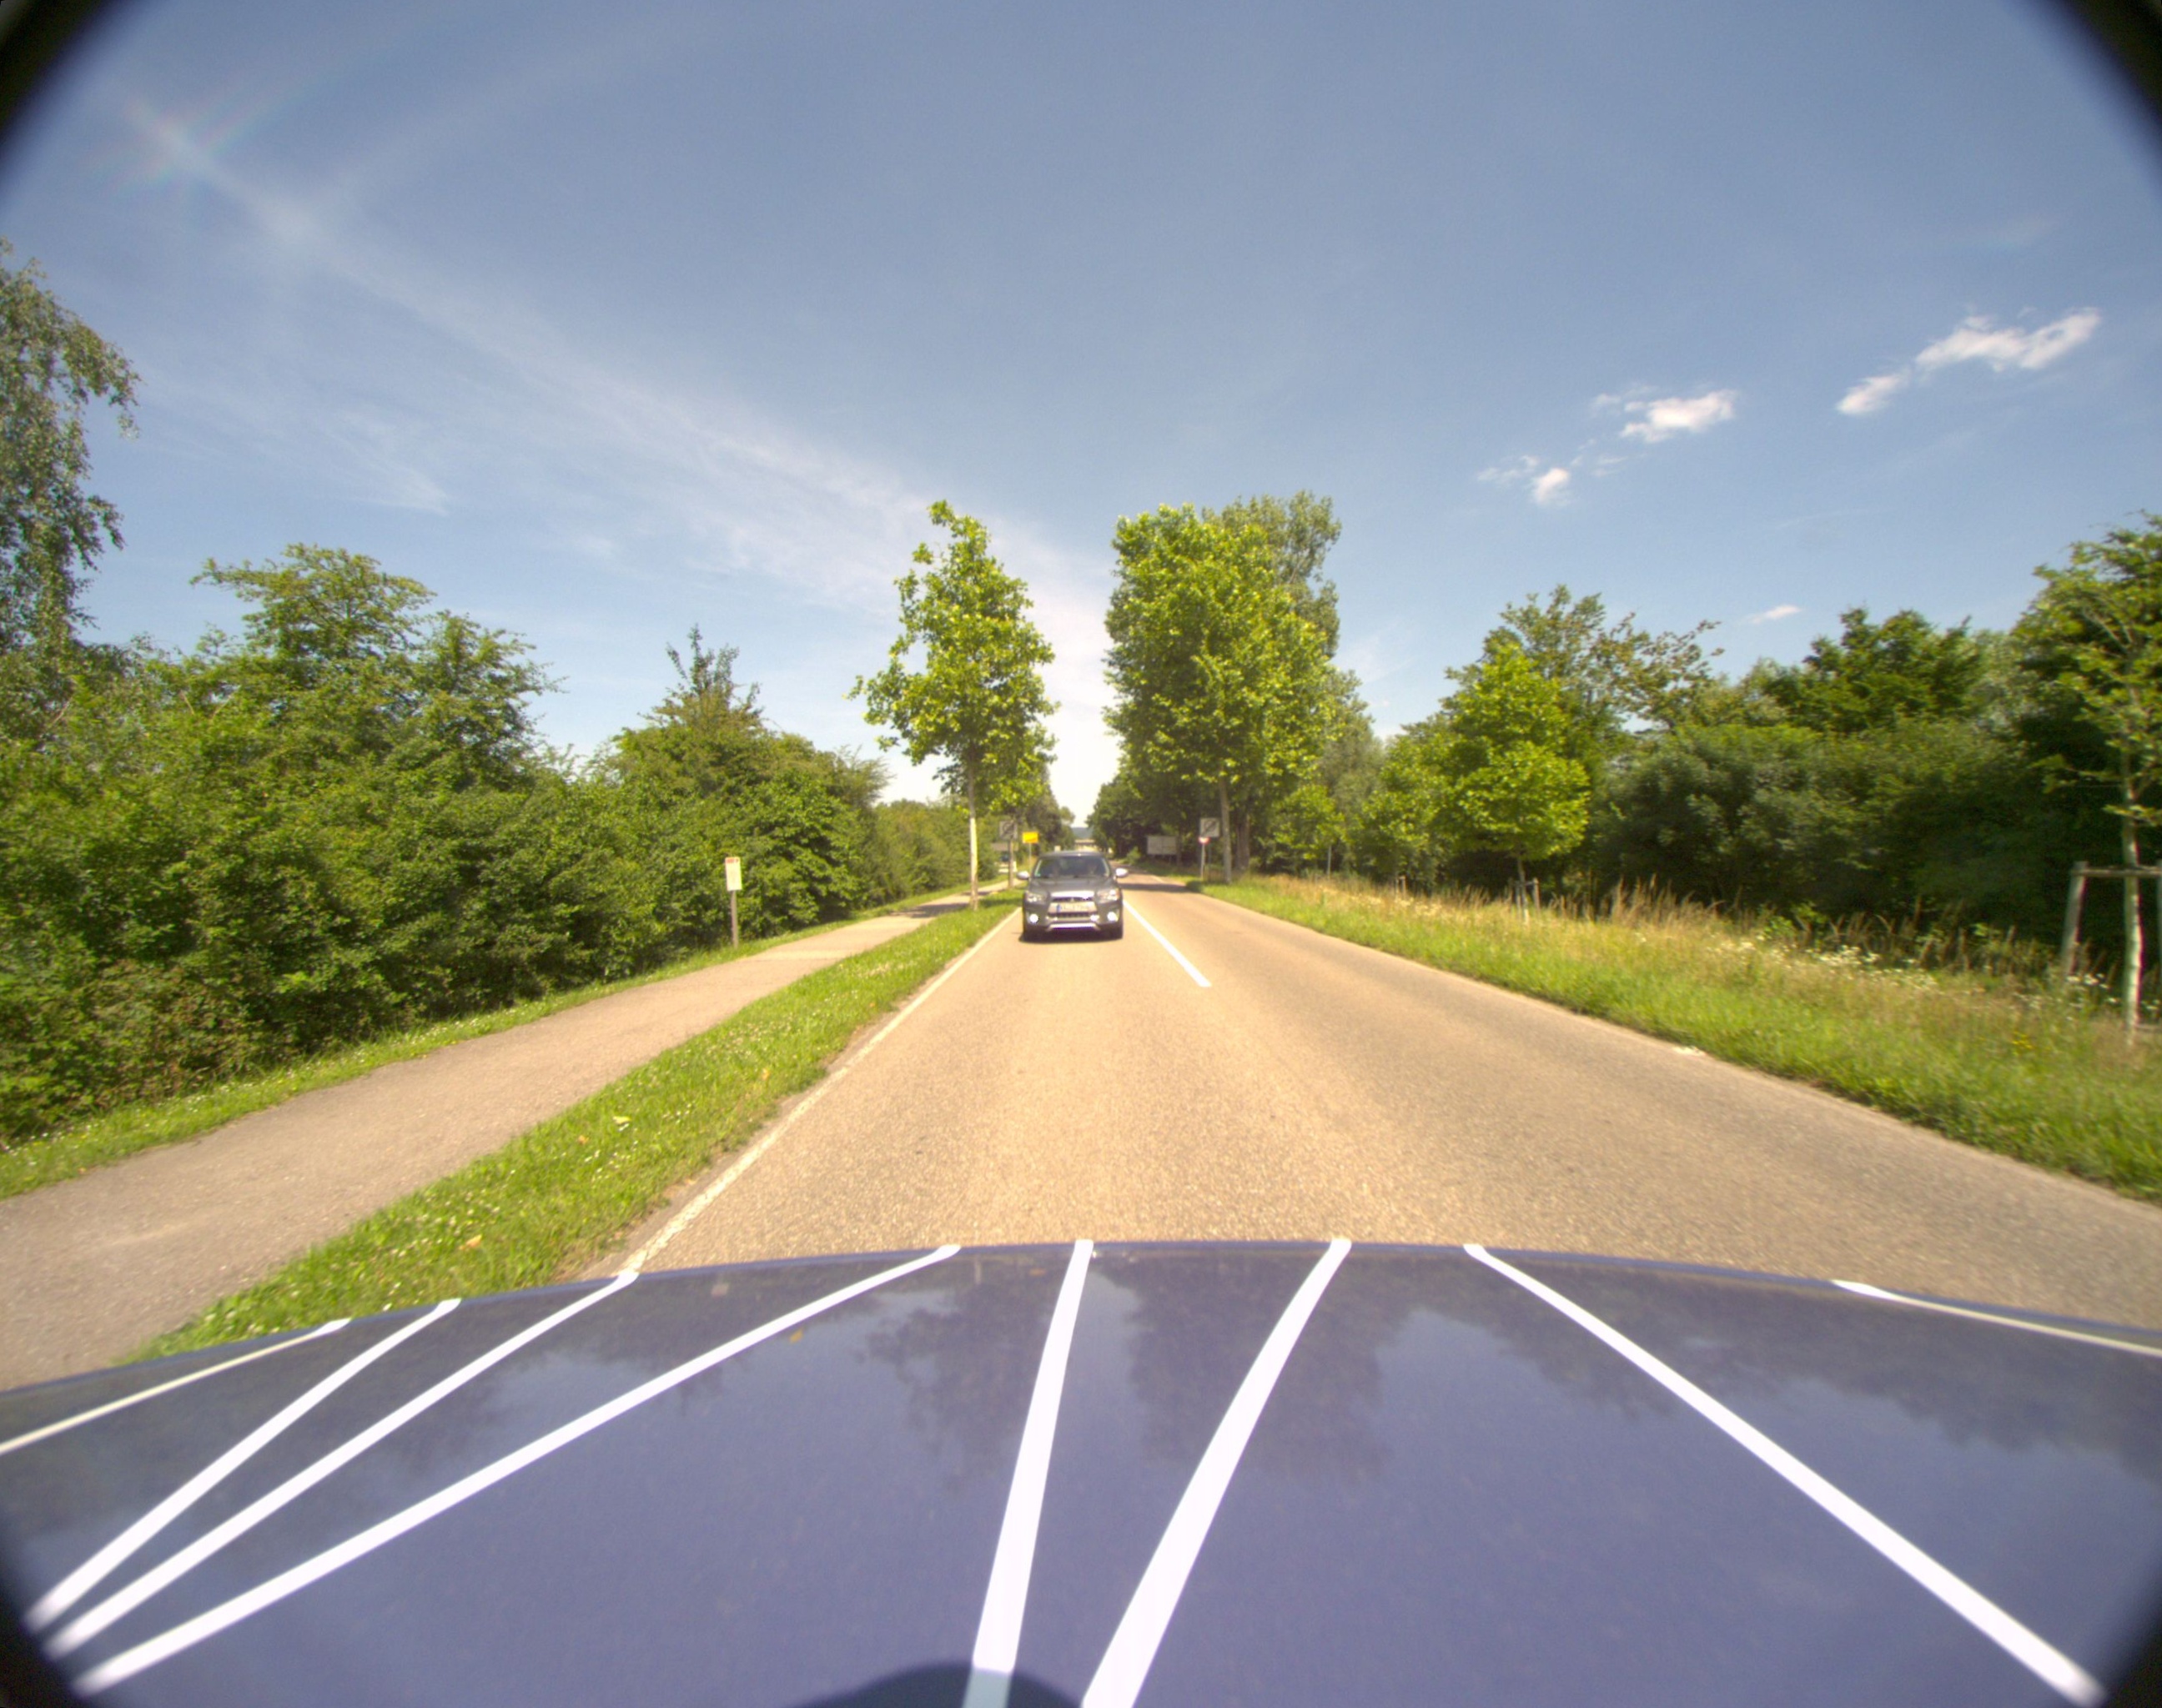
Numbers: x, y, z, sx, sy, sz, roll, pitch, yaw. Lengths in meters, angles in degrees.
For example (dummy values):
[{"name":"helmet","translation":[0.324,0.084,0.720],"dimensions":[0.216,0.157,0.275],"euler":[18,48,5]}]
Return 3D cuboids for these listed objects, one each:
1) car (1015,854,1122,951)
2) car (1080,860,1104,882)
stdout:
[{"name":"car","translation":[-0.208,0.814,14.883],"dimensions":[1.750,1.525,4.523],"euler":[-1,1,0]},{"name":"car","translation":[0.671,1.014,47.092],"dimensions":[1.429,1.270,3.159],"euler":[-1,0,1]}]
